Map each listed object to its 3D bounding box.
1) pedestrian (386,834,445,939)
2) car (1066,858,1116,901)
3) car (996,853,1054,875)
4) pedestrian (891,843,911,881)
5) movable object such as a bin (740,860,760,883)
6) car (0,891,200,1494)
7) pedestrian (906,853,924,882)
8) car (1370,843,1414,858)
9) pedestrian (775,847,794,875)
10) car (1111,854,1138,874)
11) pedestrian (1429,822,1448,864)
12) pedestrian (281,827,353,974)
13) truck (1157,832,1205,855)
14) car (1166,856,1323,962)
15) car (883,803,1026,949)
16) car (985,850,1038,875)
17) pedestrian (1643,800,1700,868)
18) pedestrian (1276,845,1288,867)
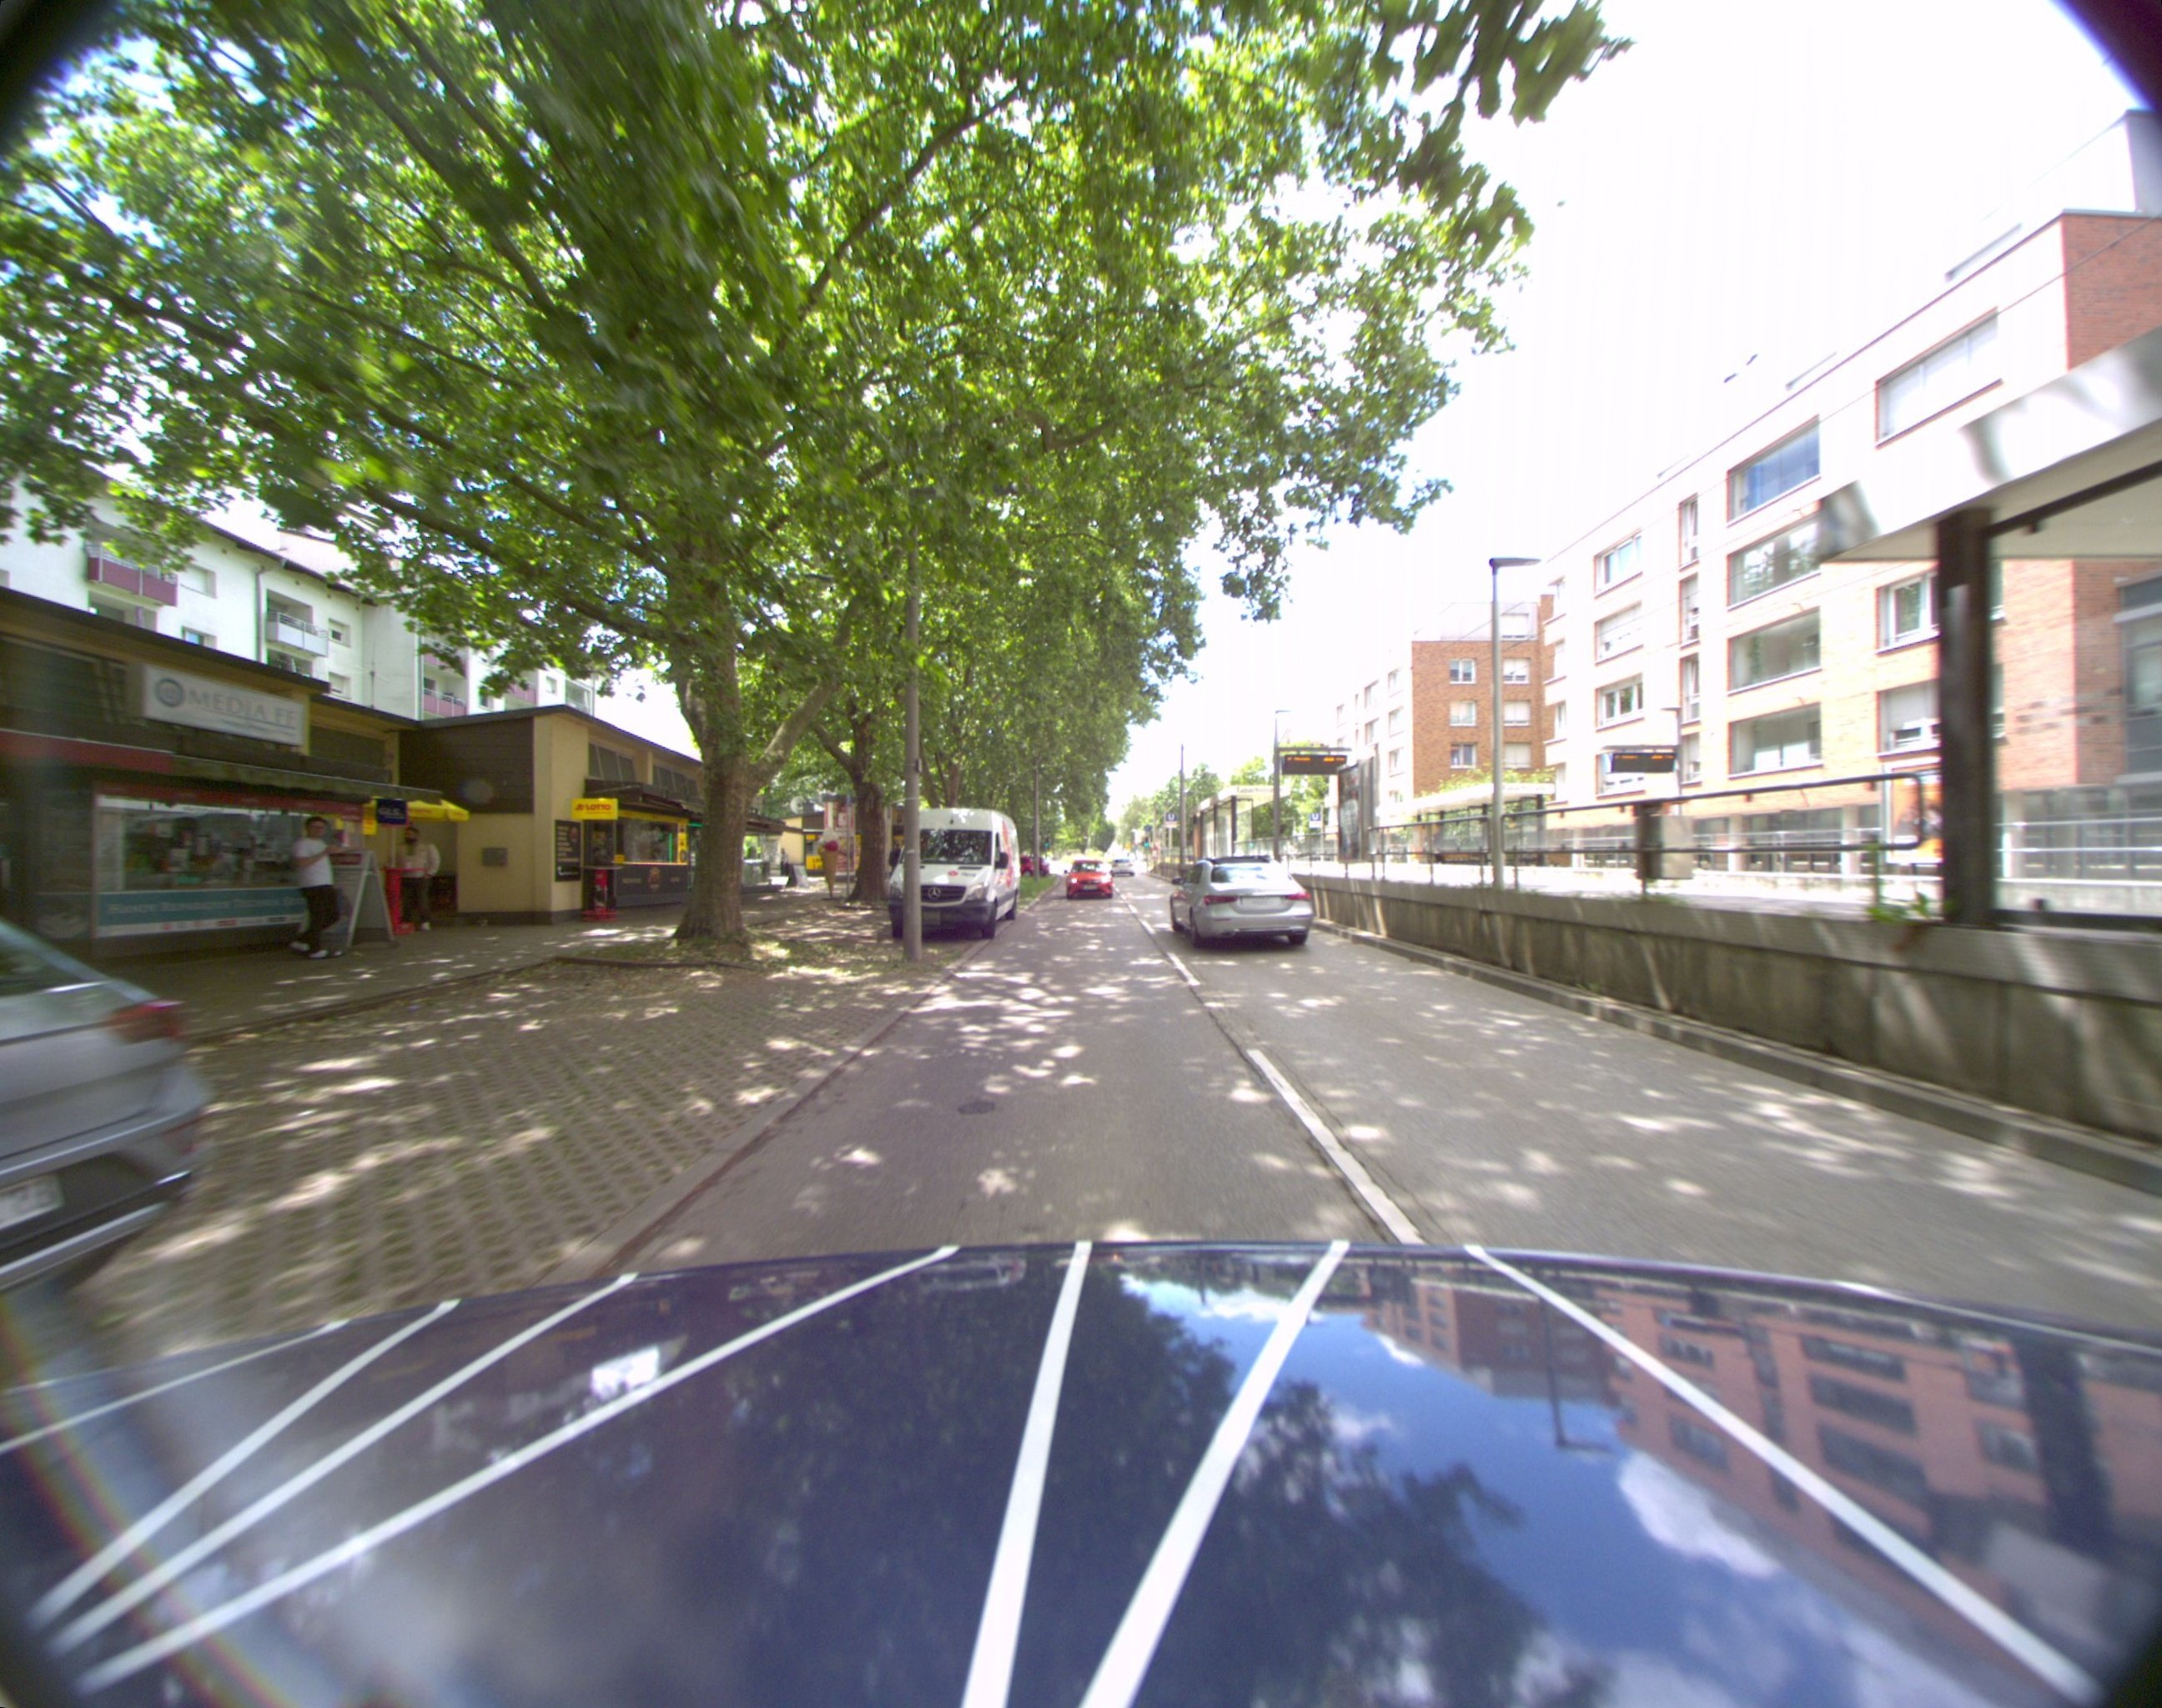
[{"bbox_3d":[-11.563,0.556,13.222,0.519,1.783,0.534,-1,1,-9],"label":"pedestrian"},{"bbox_3d":[0.377,0.917,28.911,1.712,1.439,3.670,-2,0,1],"label":"car"},{"bbox_3d":[-4.086,0.709,55.754,4.038,1.602,1.731,0,0,3],"label":"car"},{"bbox_3d":[-9.129,0.386,38.596,0.745,1.872,0.941,1,1,0],"label":"pedestrian"},{"bbox_3d":[-14.772,0.777,33.953,0.625,1.010,0.647,0,1,-3],"label":"movable object such as a bin"},{"bbox_3d":[-4.706,0.884,1.472,3.841,1.553,1.619,1,0,-6],"label":"car"},{"bbox_3d":[-8.313,0.663,38.024,0.627,1.439,1.028,0,0,0],"label":"pedestrian"},{"bbox_3d":[29.419,-0.338,71.936,3.540,1.391,1.594,0,0,-2],"label":"car"},{"bbox_3d":[-16.025,0.378,41.119,0.752,1.526,0.907,0,1,-6],"label":"pedestrian"},{"bbox_3d":[3.268,0.710,57.979,1.736,1.388,3.751,-2,0,-1],"label":"car"},{"bbox_3d":[15.052,-0.457,32.029,0.535,1.753,0.528,0,1,-2],"label":"pedestrian"},{"bbox_3d":[-9.855,0.562,9.813,0.607,1.791,0.923,-1,2,-45],"label":"pedestrian"},{"bbox_3d":[17.869,-1.791,135.143,9.629,4.069,2.624,0,0,-40],"label":"truck"},{"bbox_3d":[2.684,0.824,13.562,1.766,1.472,4.576,-2,0,0],"label":"car"},{"bbox_3d":[-2.495,0.389,16.916,1.909,2.566,6.833,1,0,1],"label":"car"},{"bbox_3d":[-4.651,0.558,51.322,3.416,1.506,1.609,2,0,-3],"label":"car"},{"bbox_3d":[14.595,-0.490,18.784,0.753,1.619,0.816,-2,0,1],"label":"pedestrian"},{"bbox_3d":[17.019,0.178,64.346,0.745,1.814,0.829,0,0,0],"label":"pedestrian"}]
